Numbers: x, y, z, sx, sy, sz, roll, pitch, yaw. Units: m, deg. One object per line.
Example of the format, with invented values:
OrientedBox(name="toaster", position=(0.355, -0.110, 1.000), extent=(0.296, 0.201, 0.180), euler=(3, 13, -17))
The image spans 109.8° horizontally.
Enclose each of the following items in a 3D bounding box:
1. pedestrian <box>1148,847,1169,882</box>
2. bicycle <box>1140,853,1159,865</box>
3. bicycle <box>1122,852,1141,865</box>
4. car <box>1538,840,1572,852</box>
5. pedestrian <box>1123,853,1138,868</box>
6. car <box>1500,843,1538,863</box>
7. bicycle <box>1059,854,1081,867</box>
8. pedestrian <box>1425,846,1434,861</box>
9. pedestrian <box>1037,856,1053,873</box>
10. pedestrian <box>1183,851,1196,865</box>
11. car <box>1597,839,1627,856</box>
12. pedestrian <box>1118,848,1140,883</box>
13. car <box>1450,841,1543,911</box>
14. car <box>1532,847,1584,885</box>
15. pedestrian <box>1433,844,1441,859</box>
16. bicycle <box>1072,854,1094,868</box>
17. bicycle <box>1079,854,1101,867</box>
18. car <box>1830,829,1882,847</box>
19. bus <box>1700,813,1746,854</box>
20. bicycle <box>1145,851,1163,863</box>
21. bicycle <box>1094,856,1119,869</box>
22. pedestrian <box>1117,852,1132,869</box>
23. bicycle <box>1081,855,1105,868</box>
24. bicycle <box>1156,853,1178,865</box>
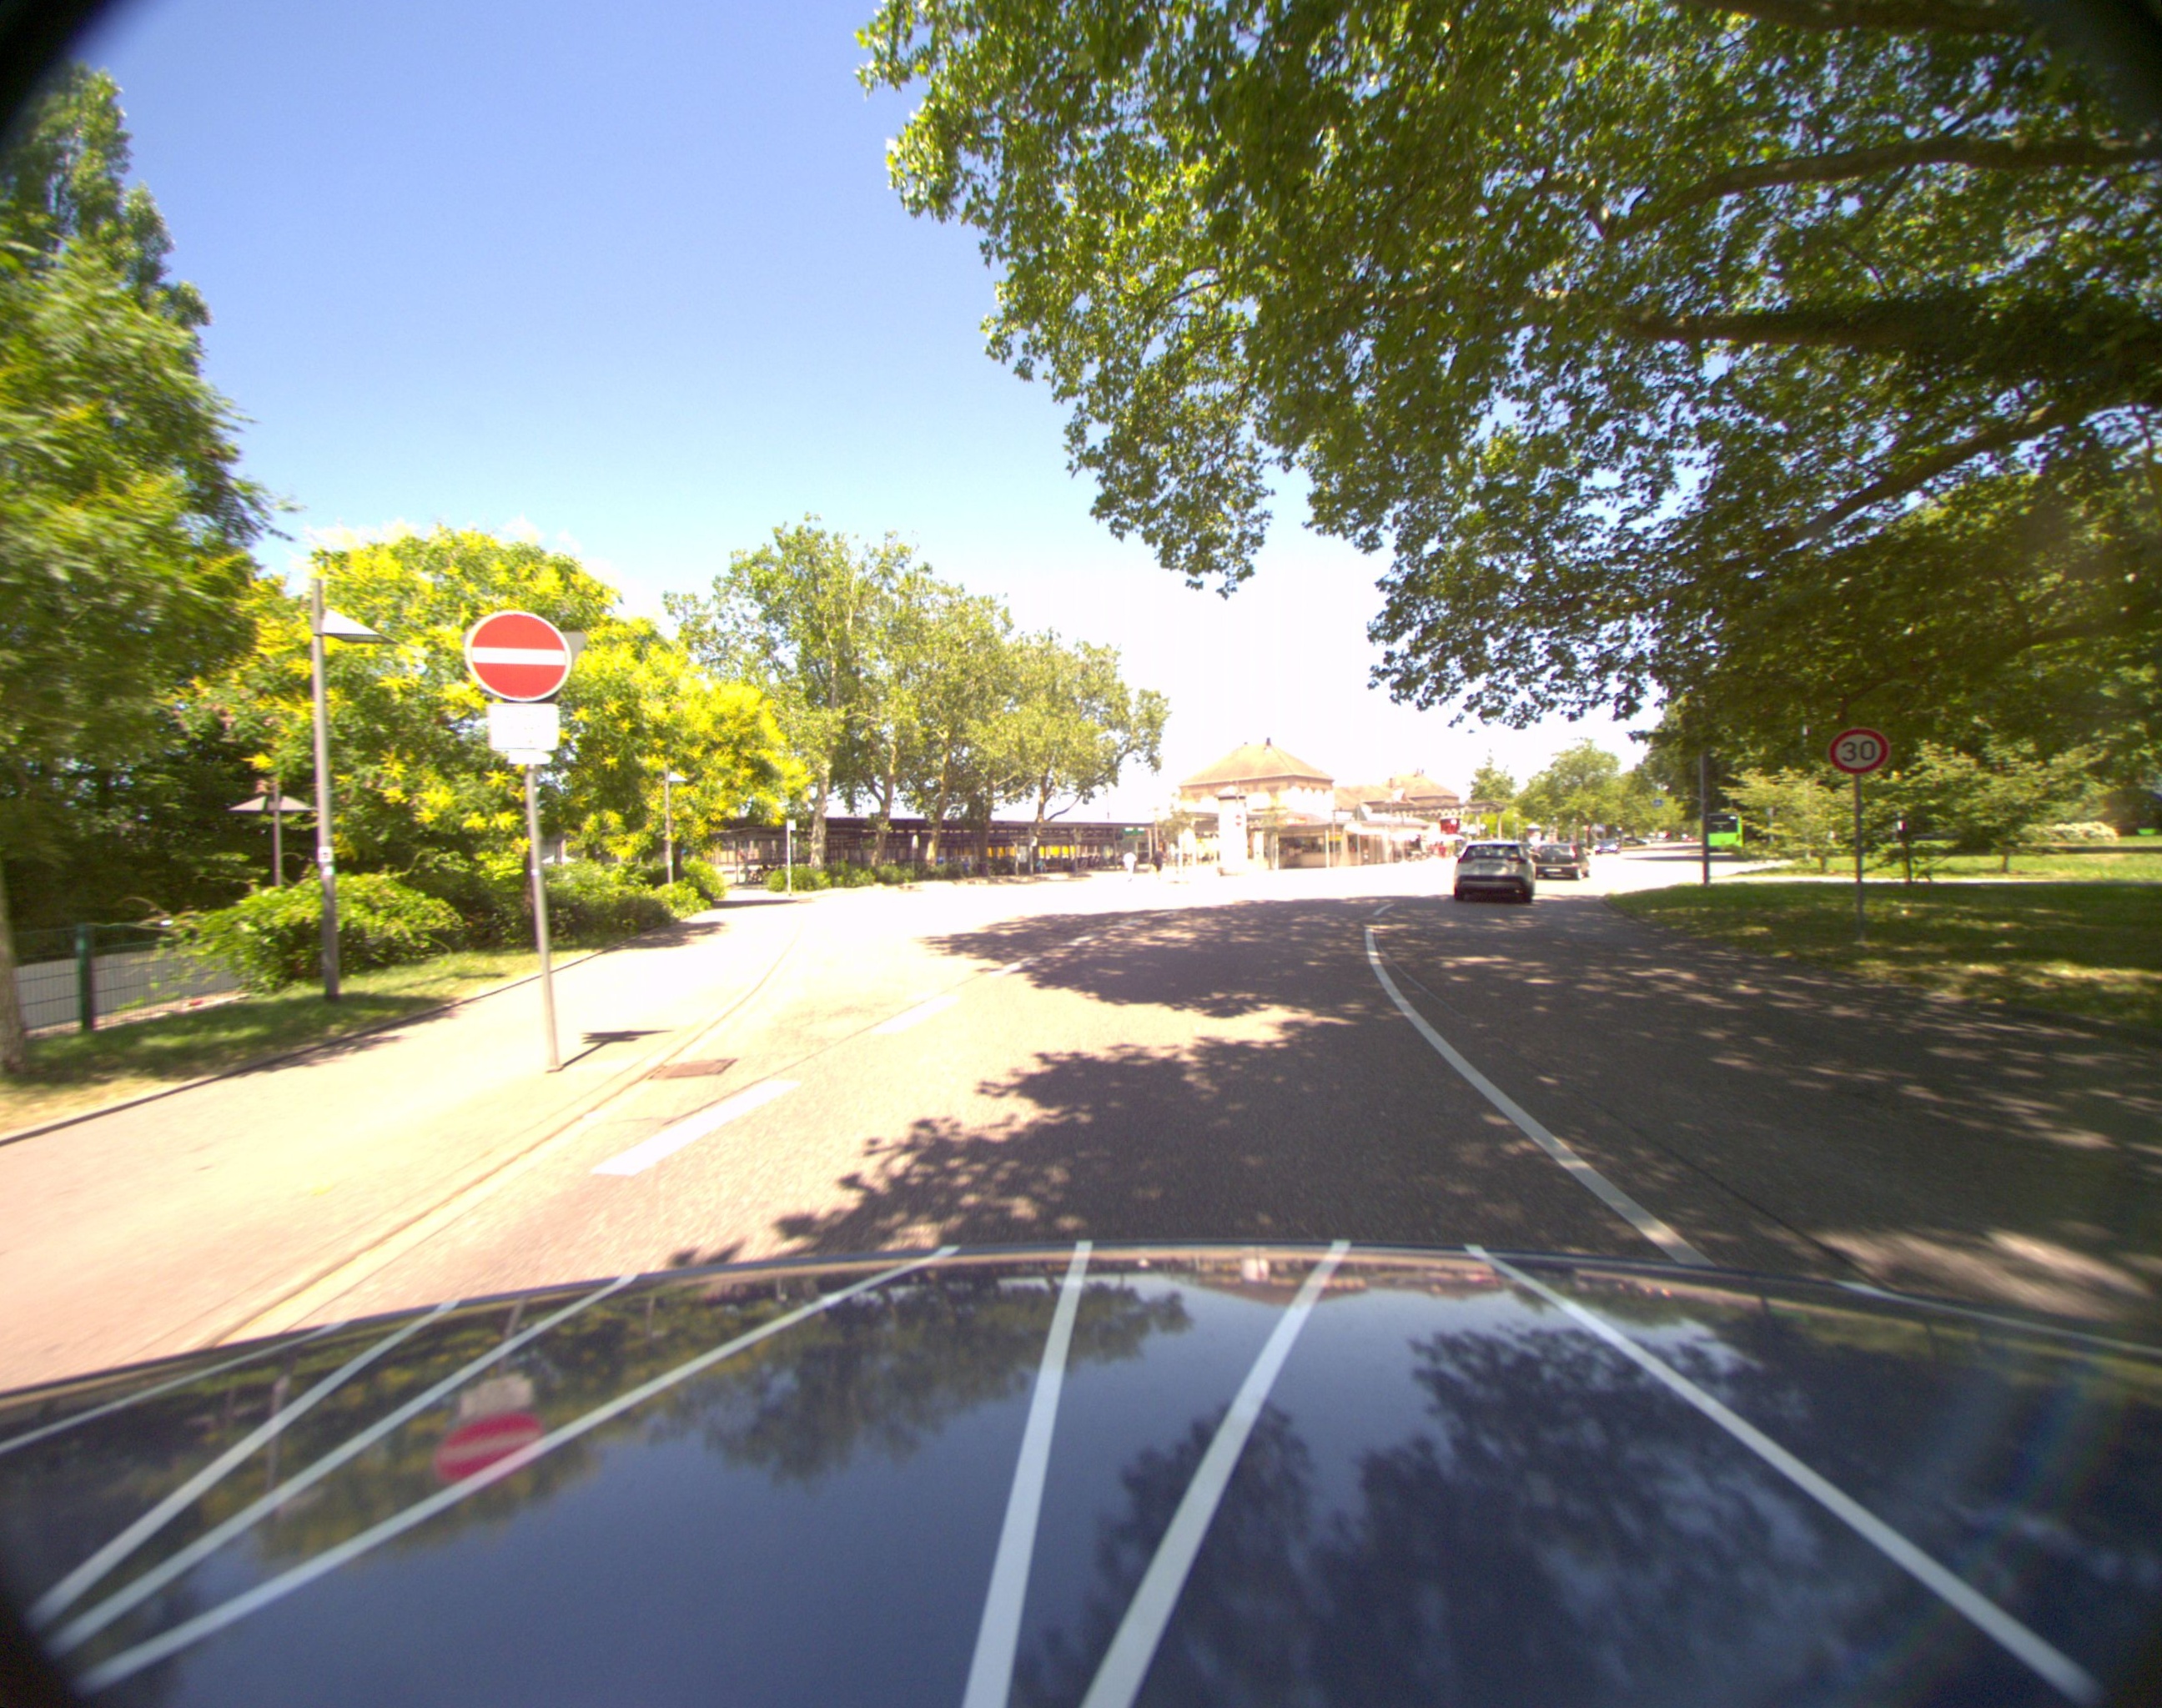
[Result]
OrientedBox(name="pedestrian", position=(4.007, 0.531, 39.251), extent=(0.915, 1.774, 0.694), euler=(-2, 1, -8))
OrientedBox(name="bicycle", position=(7.157, 0.473, 79.545), extent=(0.668, 1.068, 2.173), euler=(2, 5, 45))
OrientedBox(name="bicycle", position=(5.093, 0.427, 76.353), extent=(0.668, 1.068, 2.173), euler=(2, 5, 45))
OrientedBox(name="car", position=(69.618, -1.134, 111.537), extent=(3.989, 1.655, 2.004), euler=(-2, 0, 38))
OrientedBox(name="pedestrian", position=(4.364, 0.608, 66.779), extent=(0.960, 1.297, 0.832), euler=(-1, 1, 43))
OrientedBox(name="car", position=(34.704, -0.118, 60.223), extent=(1.774, 1.536, 4.191), euler=(1, 2, 42))
OrientedBox(name="bicycle", position=(-1.052, 0.660, 73.181), extent=(0.668, 1.068, 2.173), euler=(2, 5, 45))
OrientedBox(name="pedestrian", position=(28.939, -0.054, 63.062), extent=(0.473, 1.204, 0.489), euler=(-2, 1, -42))
OrientedBox(name="pedestrian", position=(-2.774, 0.780, 58.565), extent=(0.828, 1.267, 0.870), euler=(-1, 1, 38))
OrientedBox(name="pedestrian", position=(10.525, 0.389, 73.720), extent=(0.960, 1.297, 0.832), euler=(-1, 1, 43))
OrientedBox(name="car", position=(48.569, -0.614, 69.454), extent=(1.774, 1.536, 4.191), euler=(1, 2, 42))
OrientedBox(name="pedestrian", position=(2.456, 0.588, 38.984), extent=(0.915, 1.726, 0.675), euler=(-2, 1, -8))
OrientedBox(name="car", position=(11.587, 0.538, 21.183), extent=(2.043, 1.737, 4.332), euler=(0, 0, 29))
OrientedBox(name="car", position=(19.139, 0.440, 30.416), extent=(1.641, 1.409, 4.008), euler=(0, 0, 34))
OrientedBox(name="pedestrian", position=(29.476, -0.225, 62.854), extent=(0.502, 1.225, 0.514), euler=(-1, 1, 36))
OrientedBox(name="bicycle", position=(0.207, 0.649, 72.058), extent=(0.668, 1.068, 2.173), euler=(2, 5, 45))
OrientedBox(name="bicycle", position=(0.883, 0.574, 71.354), extent=(0.668, 1.068, 2.173), euler=(2, 5, 45))
OrientedBox(name="car", position=(85.643, -1.755, 84.029), extent=(3.989, 1.793, 2.004), euler=(-2, 0, 44))
OrientedBox(name="bus", position=(56.252, -1.758, 66.488), extent=(2.808, 3.283, 11.881), euler=(-2, 0, 41))
OrientedBox(name="bicycle", position=(7.602, 0.329, 78.976), extent=(0.668, 1.068, 2.173), euler=(2, 5, 45))
OrientedBox(name="bicycle", position=(2.279, 0.719, 68.100), extent=(2.163, 1.068, 0.671), euler=(0, 5, 39))
OrientedBox(name="pedestrian", position=(3.805, 0.556, 66.066), extent=(0.960, 1.378, 0.832), euler=(-1, 1, 43))
OrientedBox(name="bicycle", position=(1.056, 0.685, 66.798), extent=(2.163, 1.068, 0.671), euler=(0, 5, 39))
OrientedBox(name="bicycle", position=(8.594, 0.498, 75.855), extent=(0.671, 1.068, 2.163), euler=(-6, 5, -44))
